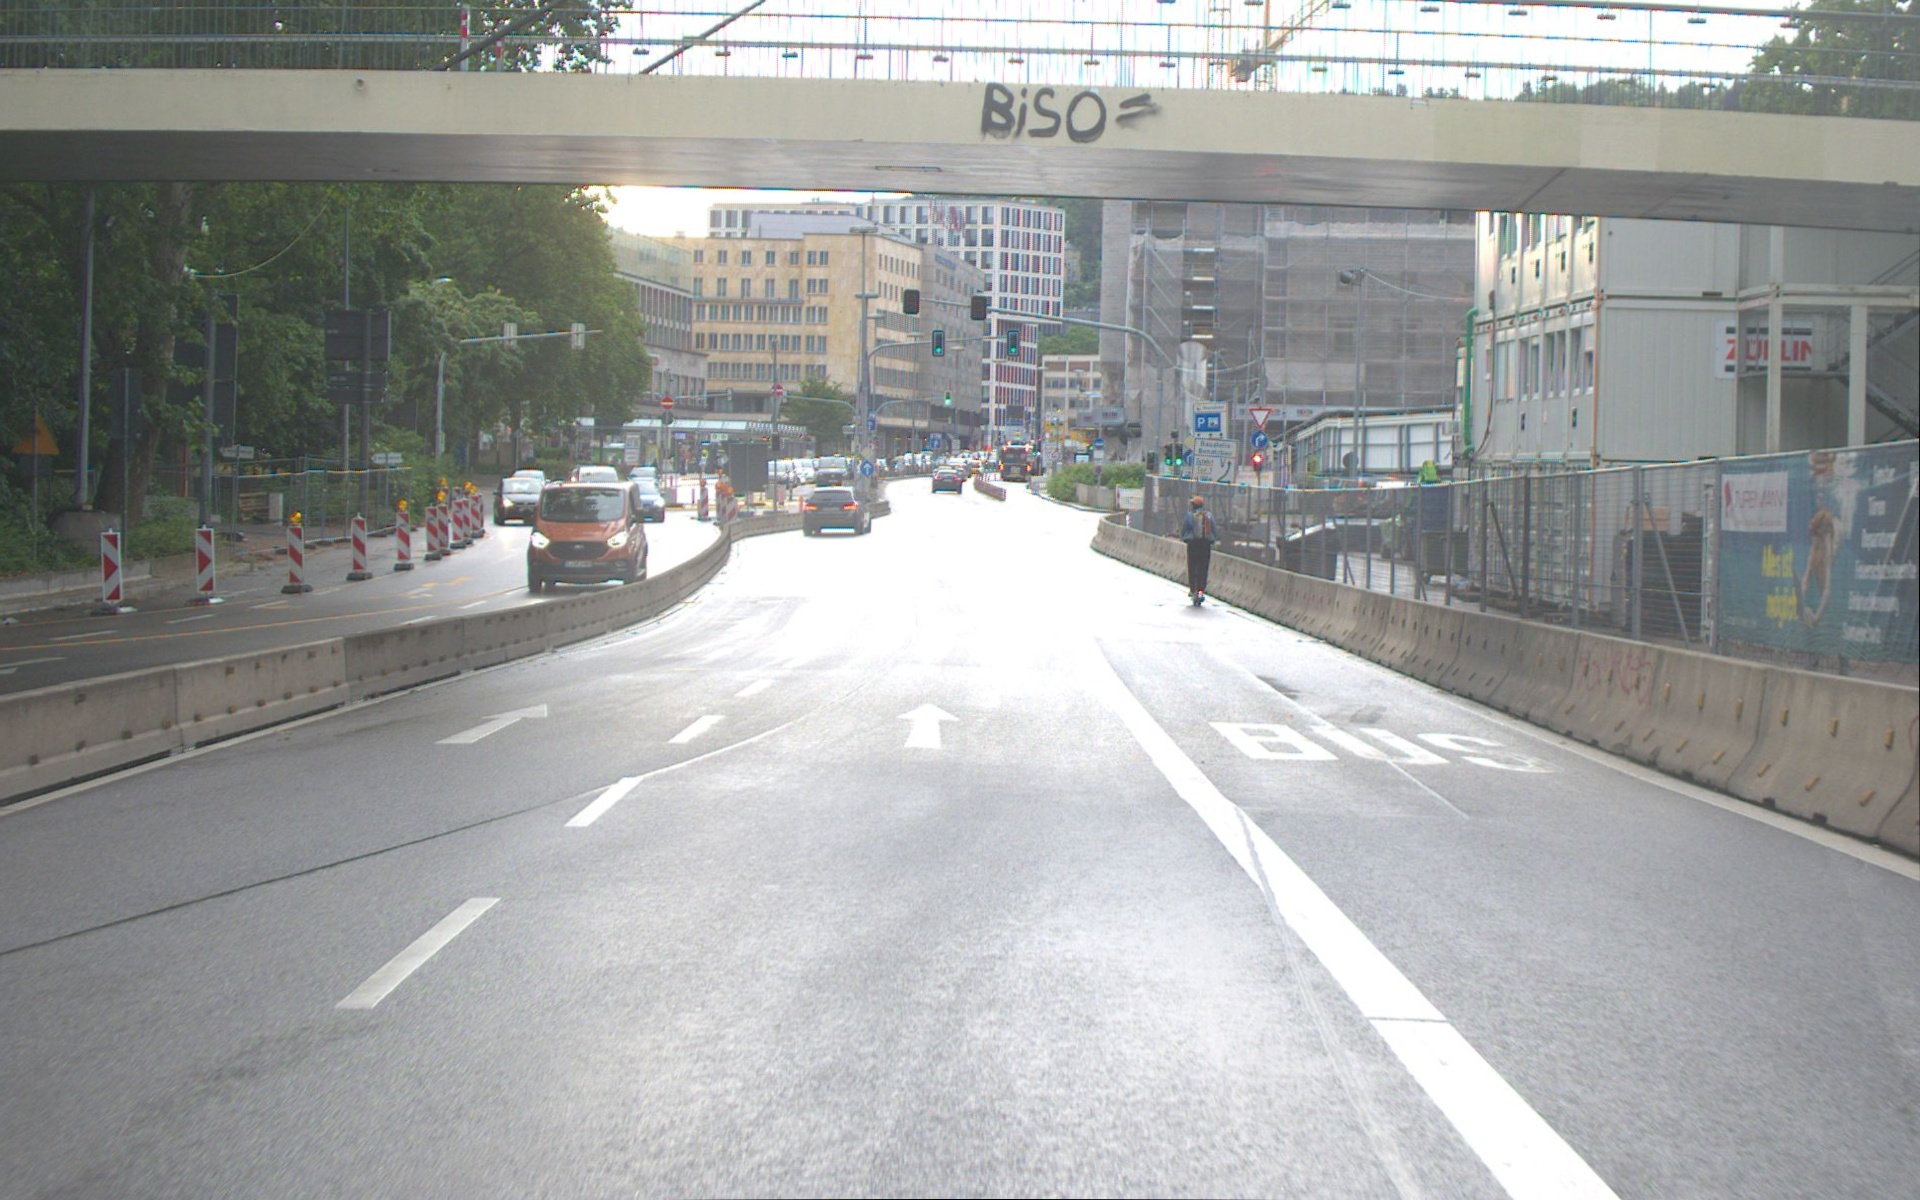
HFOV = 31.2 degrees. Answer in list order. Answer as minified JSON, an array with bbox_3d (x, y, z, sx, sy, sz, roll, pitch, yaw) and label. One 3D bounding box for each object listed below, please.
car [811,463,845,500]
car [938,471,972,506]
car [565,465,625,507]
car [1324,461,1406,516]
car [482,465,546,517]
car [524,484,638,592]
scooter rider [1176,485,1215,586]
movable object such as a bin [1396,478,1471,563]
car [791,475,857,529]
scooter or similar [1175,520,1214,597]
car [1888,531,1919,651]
[{"bbox_3d":[-7.800,-6.986,202.925,1.902,2.075,4.178,-1,0,-3],"label":"car"},{"bbox_3d":[-0.282,-6.670,205.729,1.993,2.007,4.000,-1,0,1],"label":"car"},{"bbox_3d":[-14.912,-4.662,140.608,2.030,1.647,4.912,-1,2,-1],"label":"car"},{"bbox_3d":[15.283,-4.243,129.990,1.911,1.968,5.165,1,2,-6],"label":"car"},{"bbox_3d":[-15.270,-3.744,117.593,2.030,1.647,4.320,0,3,-9],"label":"car"},{"bbox_3d":[-7.151,-1.141,65.029,2.030,1.930,5.045,-1,0,-6],"label":"car"},{"bbox_3d":[4.235,-1.169,61.876,0.597,1.779,0.997,2,2,2],"label":"scooter rider"},{"bbox_3d":[12.758,-2.142,92.630,1.456,2.195,1.265,0,4,-24],"label":"movable object such as a bin"},{"bbox_3d":[-4.131,-2.943,103.685,1.902,1.522,4.178,-1,0,-3],"label":"car"},{"bbox_3d":[4.222,-0.756,61.944,0.597,1.314,1.667,2,2,2],"label":"scooter or similar"},{"bbox_3d":[15.630,-0.084,48.470,4.542,1.623,1.788,1,3,-2],"label":"car"}]
